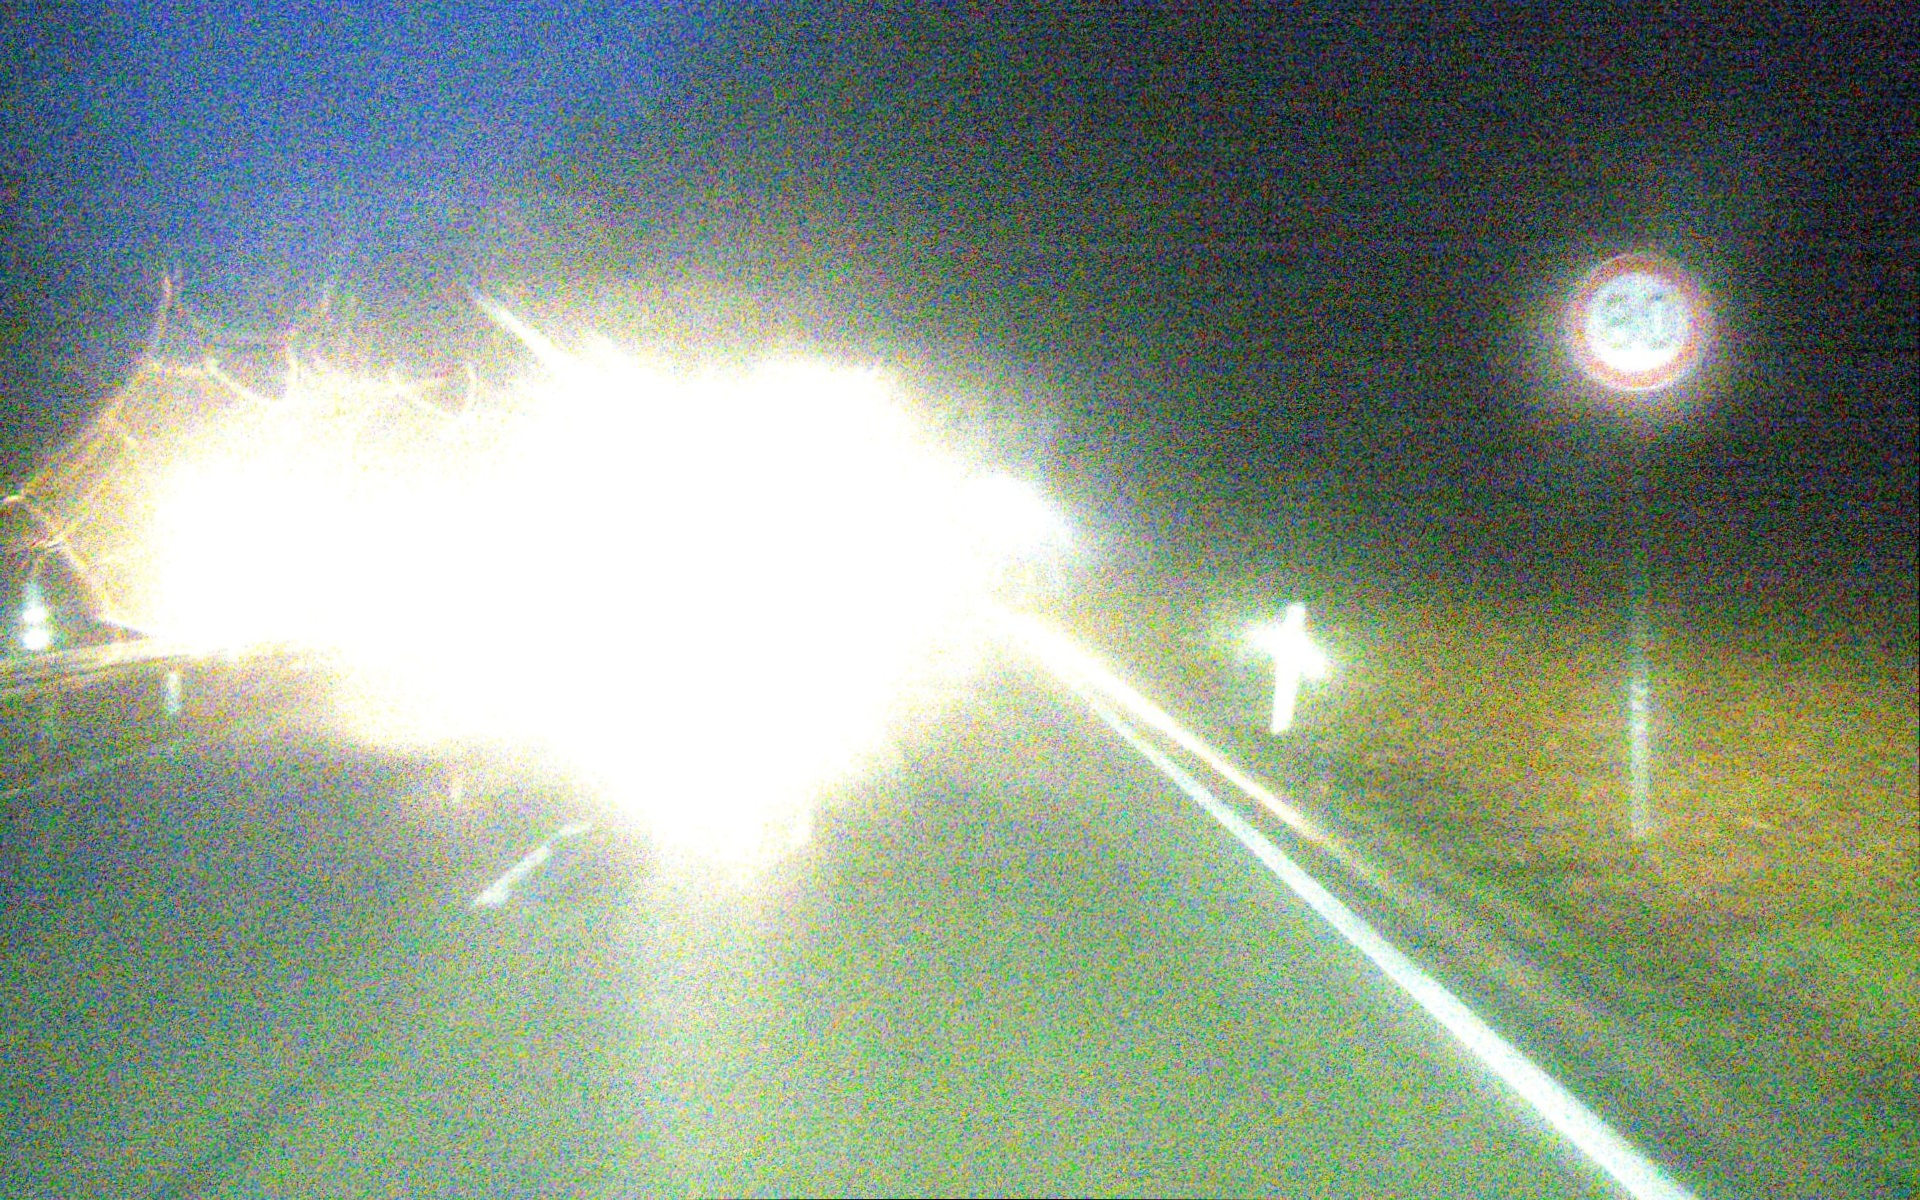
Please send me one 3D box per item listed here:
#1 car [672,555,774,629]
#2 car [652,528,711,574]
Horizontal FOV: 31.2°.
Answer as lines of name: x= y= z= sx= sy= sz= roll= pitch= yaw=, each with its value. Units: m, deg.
car: x=-4.959 y=-0.185 z=72.434 sx=1.993 sy=1.452 sz=4.099 roll=-2 pitch=1 yaw=-3
car: x=-10.178 y=-1.780 z=125.858 sx=1.993 sy=1.606 sz=4.099 roll=-2 pitch=1 yaw=-3
